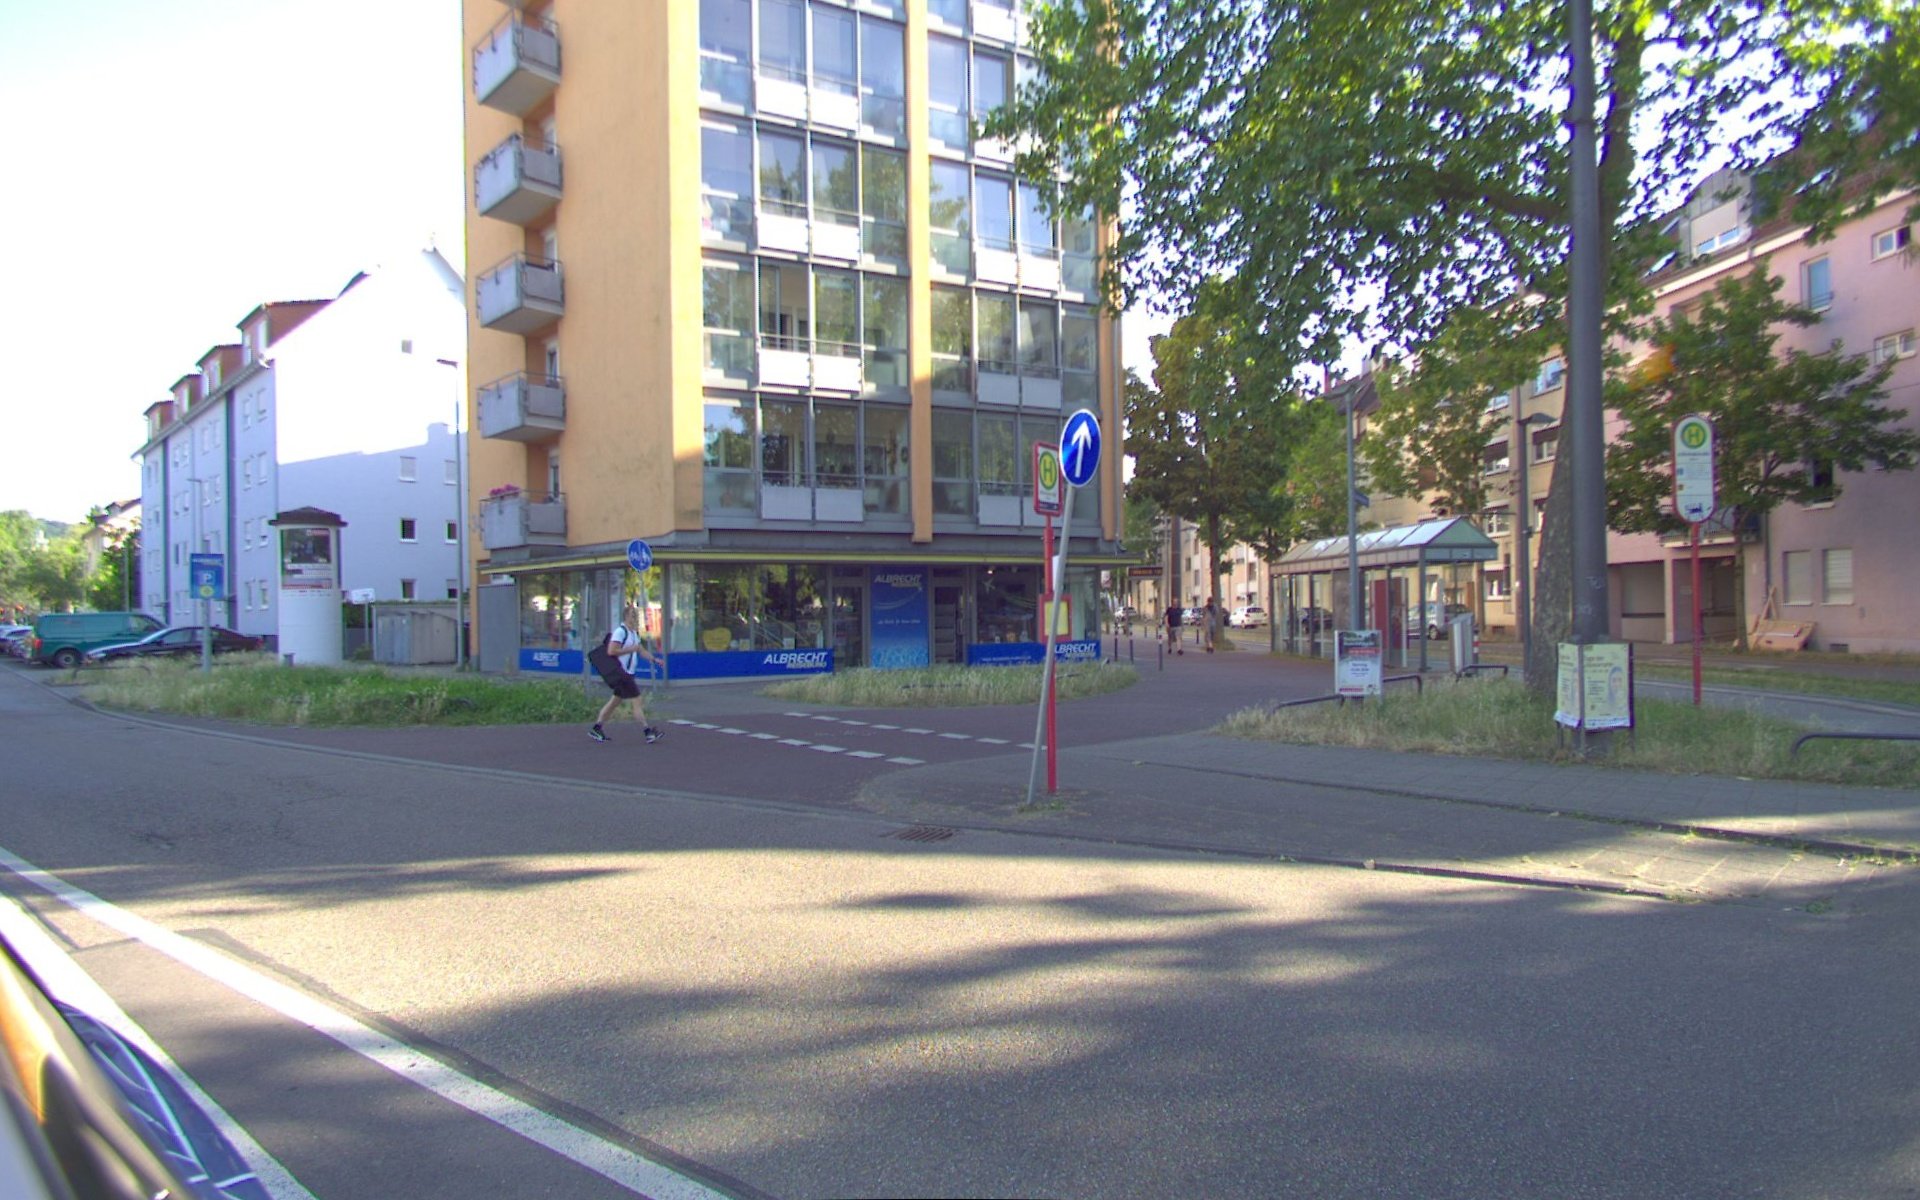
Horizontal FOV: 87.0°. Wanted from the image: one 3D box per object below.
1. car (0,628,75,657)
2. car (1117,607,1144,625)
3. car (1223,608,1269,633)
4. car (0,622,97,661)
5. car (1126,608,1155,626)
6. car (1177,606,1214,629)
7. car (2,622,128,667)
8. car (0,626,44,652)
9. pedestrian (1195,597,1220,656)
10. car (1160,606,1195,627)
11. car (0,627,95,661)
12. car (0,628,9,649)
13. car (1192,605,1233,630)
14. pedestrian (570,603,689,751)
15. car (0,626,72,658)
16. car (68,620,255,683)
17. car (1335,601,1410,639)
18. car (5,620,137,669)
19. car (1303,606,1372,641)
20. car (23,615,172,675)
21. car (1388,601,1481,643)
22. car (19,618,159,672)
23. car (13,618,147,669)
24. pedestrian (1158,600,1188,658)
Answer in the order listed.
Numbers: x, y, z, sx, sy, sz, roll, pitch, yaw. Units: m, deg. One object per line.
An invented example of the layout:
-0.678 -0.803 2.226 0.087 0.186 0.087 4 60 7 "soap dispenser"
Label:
-55.663 2.510 60.389 4.199 1.585 1.867 -1 0 -44 "car"
17.736 1.647 105.498 1.911 1.719 4.372 -1 0 -3 "car"
19.169 1.354 68.056 1.741 1.588 4.049 -1 0 -3 "car"
-46.121 2.045 50.873 4.061 1.785 1.758 -1 0 -44 "car"
17.782 1.647 99.877 1.911 1.719 4.003 -1 0 -3 "car"
18.640 1.360 80.350 1.771 1.719 4.170 -1 0 -3 "car"
-38.831 1.871 43.937 4.016 1.765 1.900 -1 0 -44 "car"
-63.499 2.612 67.002 4.199 1.585 1.867 -1 0 -44 "car"
7.531 0.806 30.856 0.622 1.763 0.689 -1 0 6 "pedestrian"
18.429 1.402 85.805 1.830 1.719 4.170 -1 0 -3 "car"
-48.124 2.282 52.965 4.199 1.585 1.867 -1 0 -44 "car"
-74.762 2.996 76.971 3.490 1.585 1.867 -1 0 -44 "car"
18.702 1.275 75.161 1.808 1.719 4.059 -1 0 -3 "car"
-4.114 0.923 12.644 1.080 1.750 0.897 -1 0 19 "pedestrian"
-55.796 2.480 60.443 4.016 1.765 1.900 -1 0 -44 "car"
-24.277 1.514 30.872 4.361 1.674 2.003 -1 0 -41 "car"
19.902 0.924 48.991 1.911 1.719 3.827 -1 0 -3 "car"
-36.862 1.814 42.019 4.003 1.829 1.938 -1 0 -44 "car"
19.912 1.209 53.604 1.911 1.719 4.115 -1 0 -3 "car"
-31.219 1.563 36.695 2.001 1.962 3.942 -1 0 44 "car"
20.742 0.914 44.436 1.911 1.719 4.115 -1 0 -3 "car"
-33.125 1.654 38.538 3.941 1.829 2.001 -1 0 -44 "car"
-35.124 1.680 40.440 3.941 1.829 2.001 -1 0 -44 "car"
6.507 0.886 30.960 0.803 1.763 0.538 -1 0 6 "pedestrian"
